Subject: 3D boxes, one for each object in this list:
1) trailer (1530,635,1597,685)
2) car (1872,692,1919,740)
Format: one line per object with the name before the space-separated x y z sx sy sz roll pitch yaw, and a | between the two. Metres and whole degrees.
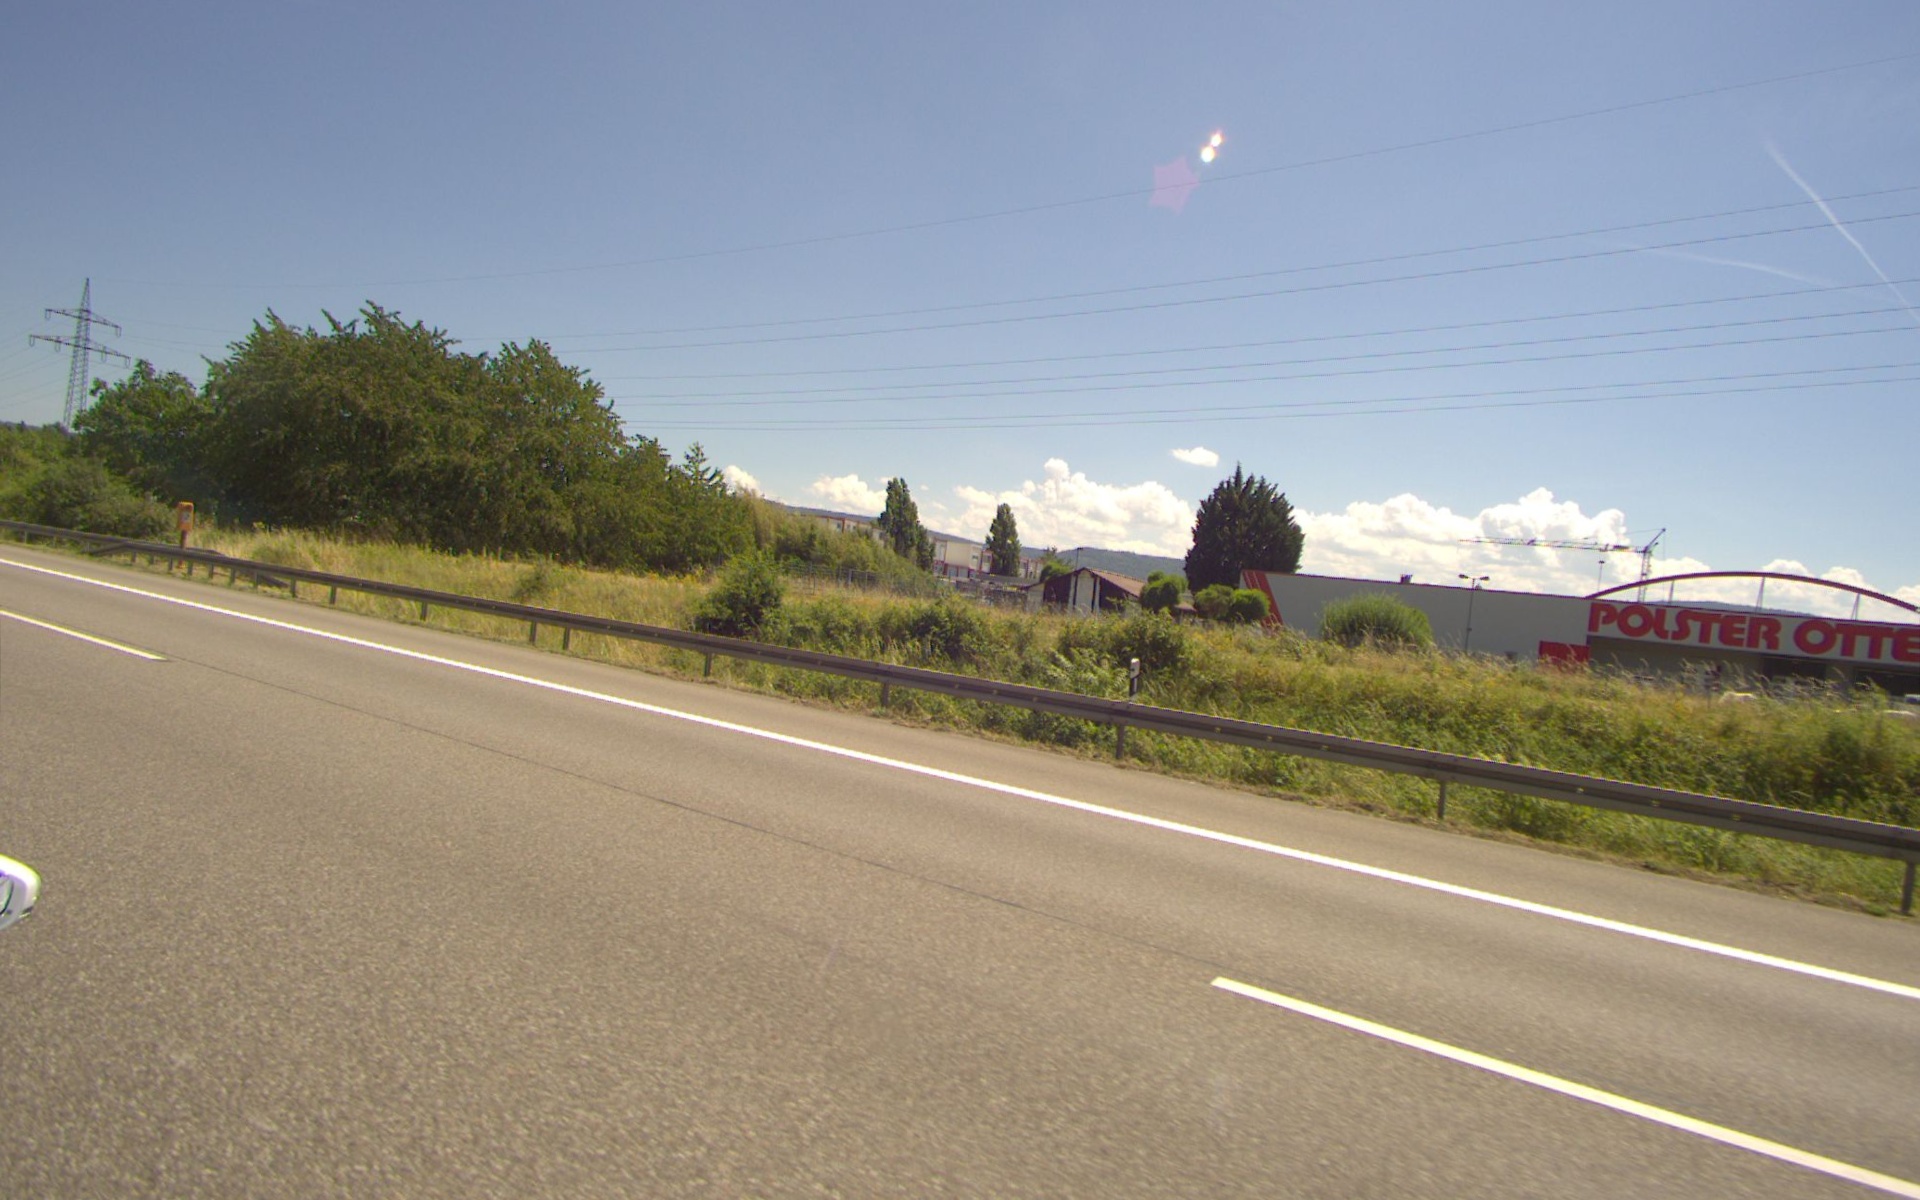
trailer | 35.229 3.472 58.642 2.931 2.412 7.910 7 1 32
car | 45.226 5.522 47.587 1.965 2.036 3.999 7 -2 28
